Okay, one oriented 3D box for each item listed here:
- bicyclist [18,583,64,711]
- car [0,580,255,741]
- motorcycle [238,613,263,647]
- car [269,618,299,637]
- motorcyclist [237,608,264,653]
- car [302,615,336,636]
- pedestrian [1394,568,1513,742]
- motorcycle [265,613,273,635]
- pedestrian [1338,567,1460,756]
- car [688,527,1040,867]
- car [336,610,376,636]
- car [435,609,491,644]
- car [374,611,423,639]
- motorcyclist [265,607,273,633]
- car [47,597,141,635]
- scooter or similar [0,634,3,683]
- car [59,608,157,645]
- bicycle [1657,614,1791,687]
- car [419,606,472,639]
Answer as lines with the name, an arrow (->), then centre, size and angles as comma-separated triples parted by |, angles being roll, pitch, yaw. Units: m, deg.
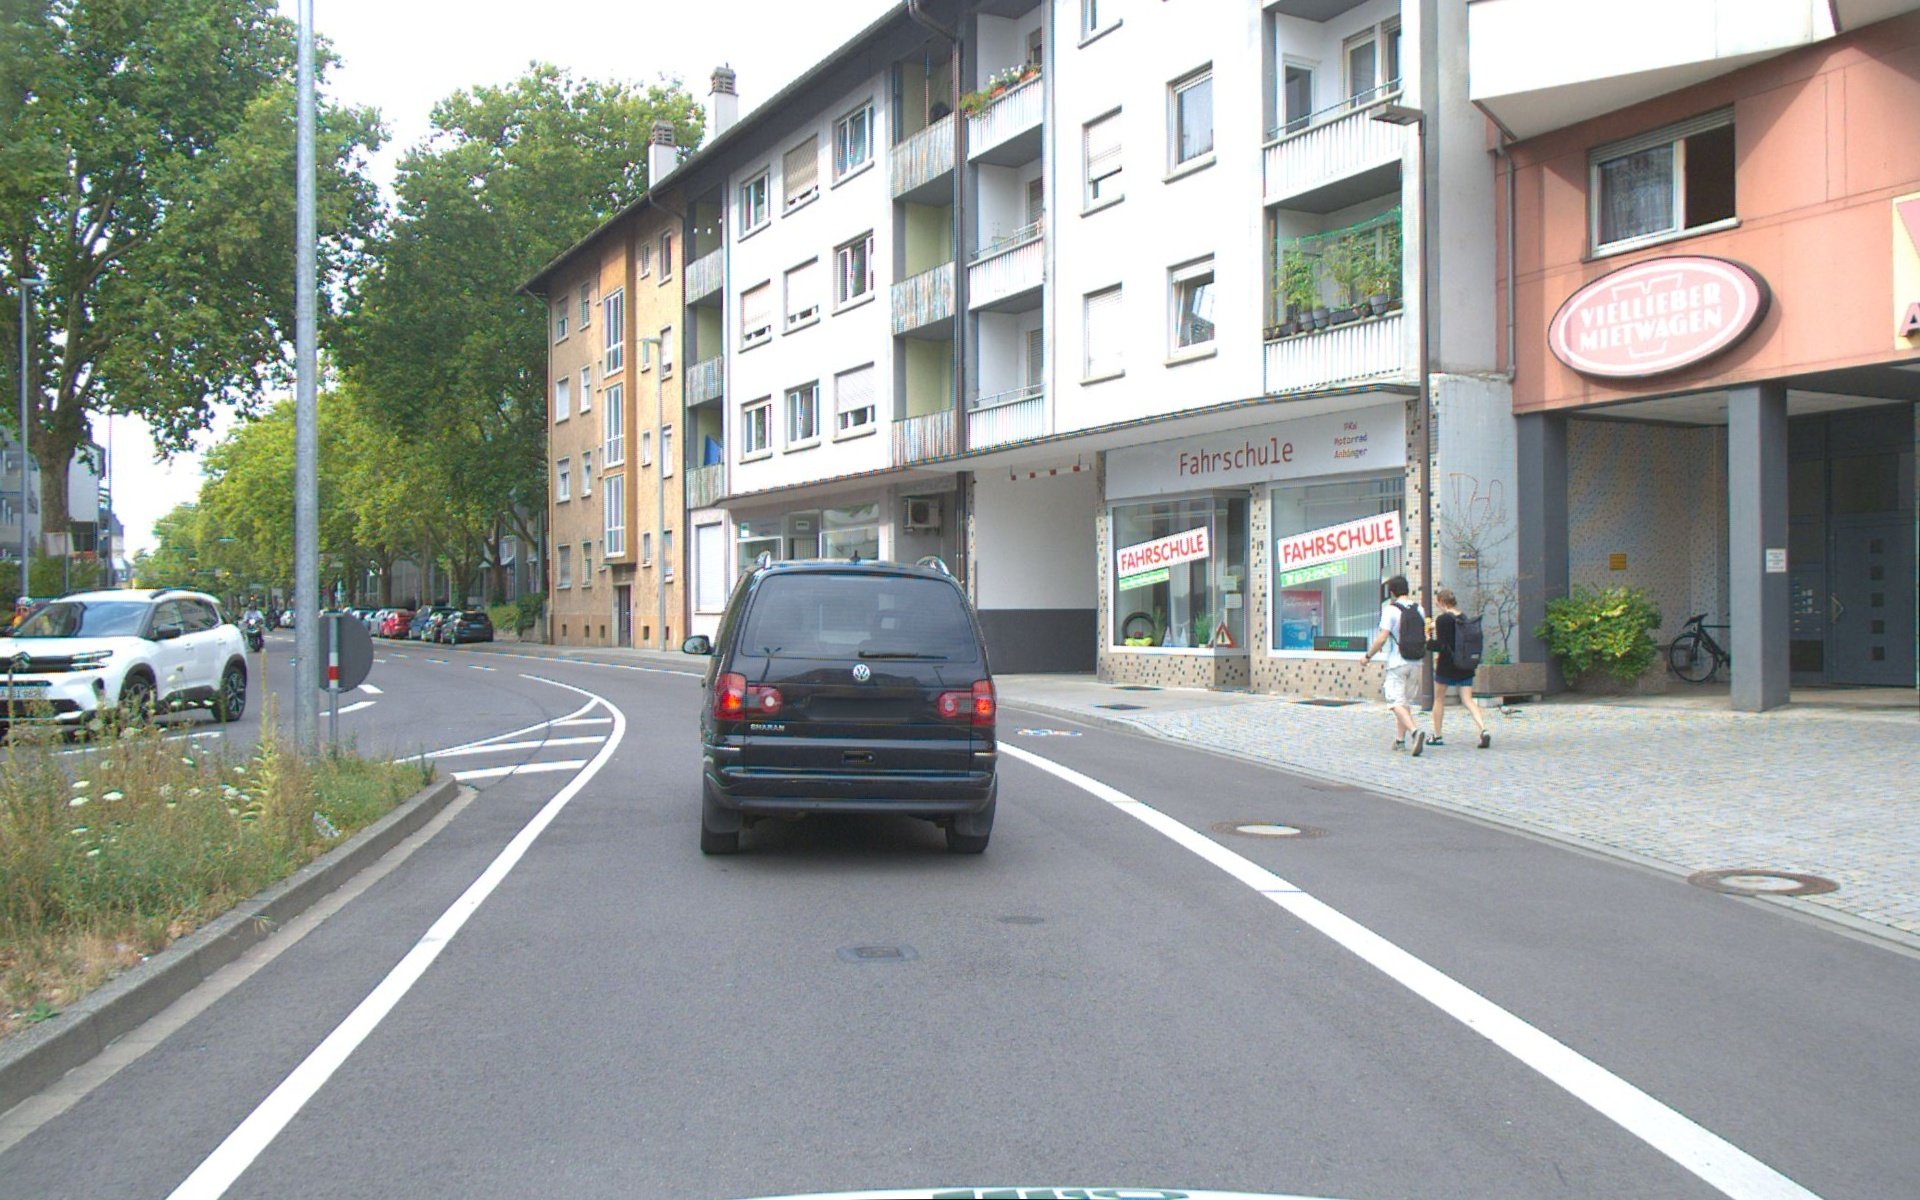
bicyclist -> -13.011, 0.655, 23.435 | 0.531, 1.774, 0.751 | 0, -1, -27
car -> -9.985, 0.656, 19.511 | 1.796, 1.689, 4.320 | 0, -1, -5
motorcycle -> -24.143, 1.014, 56.289 | 0.712, 1.114, 2.020 | -2, -1, -24
car -> -54.289, 2.206, 132.783 | 1.625, 1.419, 3.475 | 3, -2, -31
motorcyclist -> -24.166, 1.044, 56.318 | 0.786, 1.486, 0.858 | -2, -1, -25
car -> -44.498, 1.795, 114.803 | 1.657, 1.418, 4.418 | 1, -2, -29
pedestrian -> 5.013, 0.548, 16.830 | 0.598, 1.697, 0.934 | -3, 0, -30
motorcycle -> -44.071, 1.553, 105.491 | 0.368, 1.373, 1.715 | 0, -1, -28
pedestrian -> 4.365, 0.596, 16.482 | 0.740, 1.780, 0.855 | -4, 0, -19
car -> -0.796, 0.546, 10.743 | 1.780, 1.797, 3.727 | 1, -1, -11
car -> -35.891, 1.376, 98.259 | 1.612, 1.496, 4.276 | 1, -2, -29
car -> -21.545, 1.137, 71.641 | 1.639, 1.447, 3.830 | 0, 0, -28
car -> -28.712, 1.305, 84.541 | 1.657, 1.418, 4.418 | 1, -2, -29
motorcyclist -> -44.112, 1.279, 105.583 | 0.441, 1.676, 0.515 | 1, -1, -28
car -> -47.703, 0.909, 91.210 | 4.473, 1.911, 2.028 | 3, -2, -28
scooter or similar -> -26.114, 1.562, 44.251 | 1.149, 1.287, 0.287 | -1, -1, 25
car -> -41.923, 1.304, 81.498 | 4.207, 1.634, 1.950 | 2, -1, -28
bicycle -> 9.967, 0.636, 21.621 | 0.447, 0.912, 1.662 | 0, 0, -28
car -> -23.642, 1.023, 75.937 | 1.639, 1.447, 3.910 | 0, 0, -28
